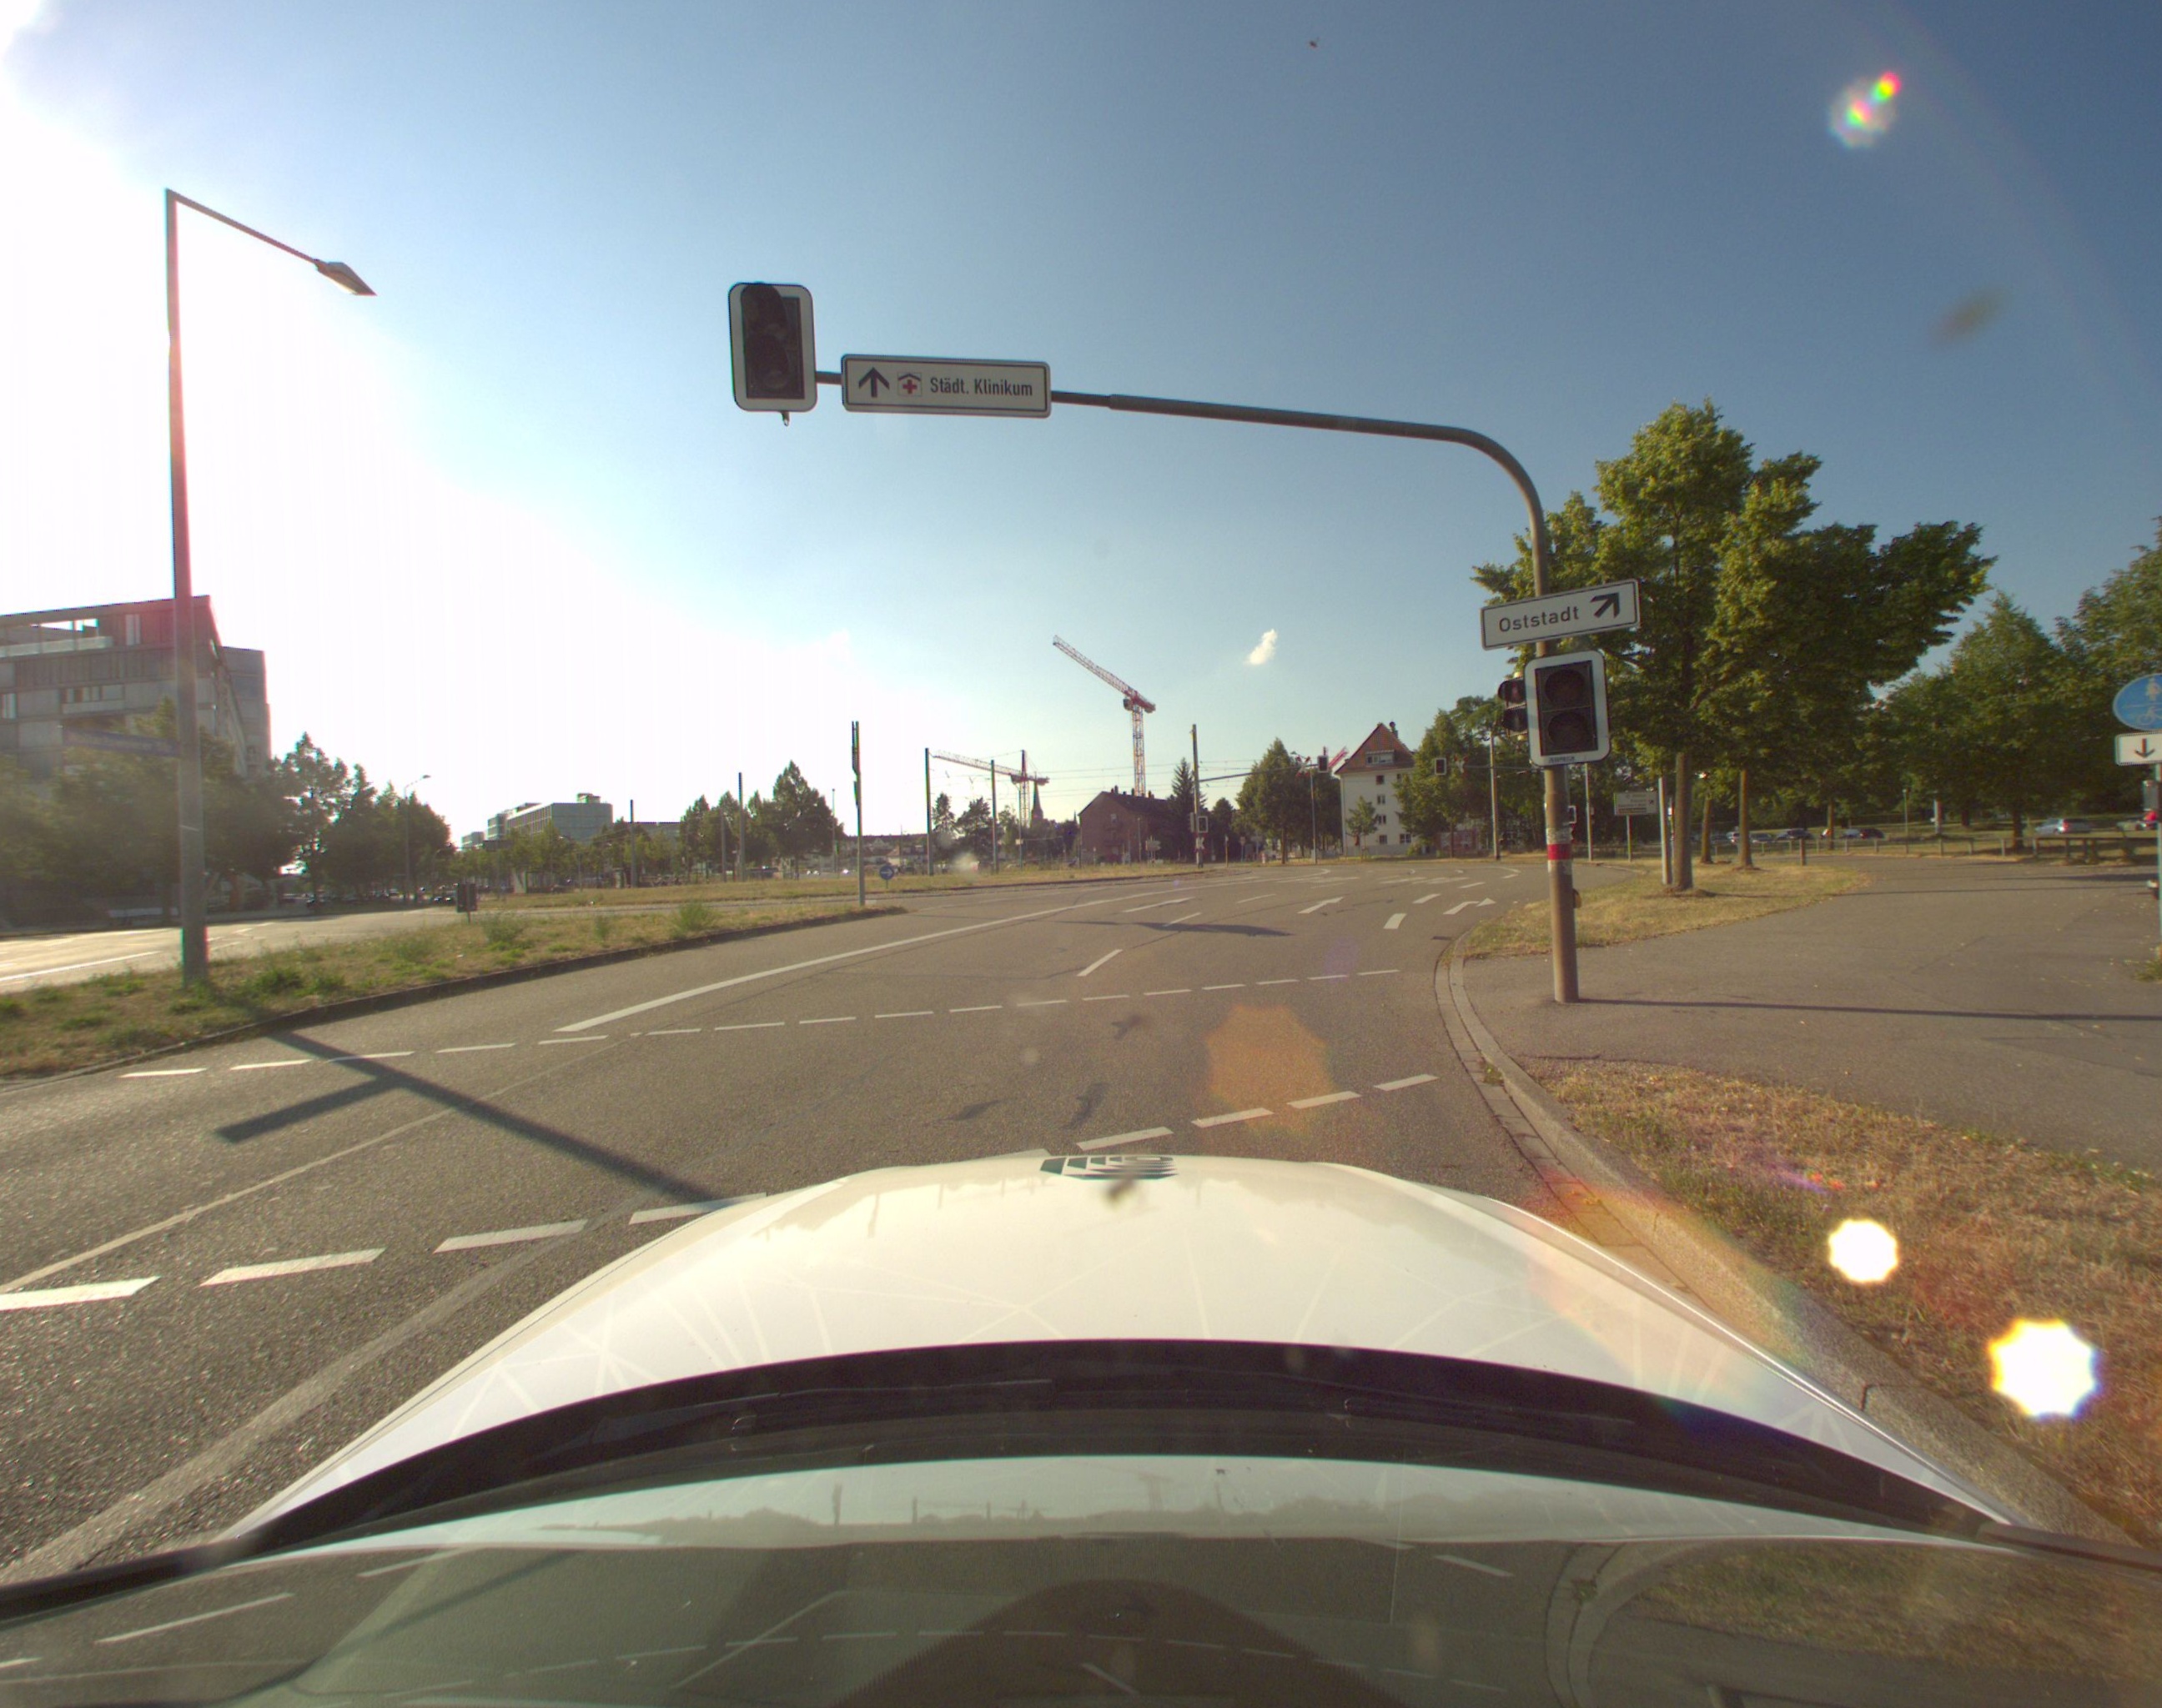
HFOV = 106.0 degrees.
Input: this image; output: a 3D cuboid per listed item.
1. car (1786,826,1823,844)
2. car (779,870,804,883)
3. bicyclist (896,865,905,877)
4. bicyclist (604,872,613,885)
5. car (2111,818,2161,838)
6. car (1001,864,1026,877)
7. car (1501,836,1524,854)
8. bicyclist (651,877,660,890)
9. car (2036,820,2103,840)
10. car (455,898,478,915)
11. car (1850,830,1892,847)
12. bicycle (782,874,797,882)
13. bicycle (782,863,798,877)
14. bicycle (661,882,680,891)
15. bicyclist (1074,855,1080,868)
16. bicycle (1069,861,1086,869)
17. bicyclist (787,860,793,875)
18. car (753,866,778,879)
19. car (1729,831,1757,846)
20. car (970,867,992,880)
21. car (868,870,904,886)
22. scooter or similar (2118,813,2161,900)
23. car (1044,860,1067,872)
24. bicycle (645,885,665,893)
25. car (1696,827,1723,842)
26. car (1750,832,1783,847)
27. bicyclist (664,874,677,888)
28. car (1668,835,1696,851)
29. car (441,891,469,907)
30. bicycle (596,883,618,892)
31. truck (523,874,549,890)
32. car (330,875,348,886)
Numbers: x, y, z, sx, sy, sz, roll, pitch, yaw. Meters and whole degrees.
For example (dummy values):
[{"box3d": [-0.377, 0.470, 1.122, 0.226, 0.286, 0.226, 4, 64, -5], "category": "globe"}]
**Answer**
[{"box3d": [63.349, -1.624, 71.358, 1.586, 1.402, 3.993, -3, -1, 30], "category": "car"}, {"box3d": [-47.004, 3.684, 132.208, 3.948, 2.013, 2.013, -3, 0, 36], "category": "car"}, {"box3d": [-21.858, 2.002, 98.533, 0.895, 1.396, 0.525, -2, 0, -4], "category": "bicyclist"}, {"box3d": [-47.097, 2.456, 81.189, 0.658, 1.325, 0.512, -2, 0, -45], "category": "bicyclist"}, {"box3d": [82.610, -2.015, 63.156, 1.804, 1.403, 4.023, -3, -1, 26], "category": "car"}, {"box3d": [-11.025, 2.643, 133.125, 3.776, 2.014, 1.680, -3, -1, 20], "category": "car"}, {"box3d": [43.033, -0.888, 81.153, 1.754, 1.618, 3.993, -3, -1, 30], "category": "car"}, {"box3d": [-43.508, 3.044, 83.307, 0.658, 1.325, 0.512, -2, 0, -45], "category": "bicyclist"}, {"box3d": [78.312, -1.863, 64.601, 1.804, 1.403, 4.023, -3, -1, 26], "category": "car"}, {"box3d": [-58.573, 4.979, 77.631, 1.493, 1.475, 3.260, -2, 0, -42], "category": "car"}, {"box3d": [67.221, -1.270, 69.353, 1.586, 1.310, 3.993, -3, -1, 30], "category": "car"}, {"box3d": [-32.993, 2.709, 92.203, 1.622, 0.860, 0.541, -2, 0, -24], "category": "bicycle"}, {"box3d": [-33.228, 1.810, 93.002, 1.547, 1.473, 0.475, -2, 0, -25], "category": "bicycle"}, {"box3d": [-43.475, 3.453, 86.244, 0.538, 0.860, 1.629, -3, 0, 41], "category": "bicycle"}, {"box3d": [-0.508, 0.862, 96.066, 0.621, 1.511, 0.418, -2, 0, -4], "category": "bicyclist"}, {"box3d": [-0.443, 1.317, 96.069, 1.983, 0.918, 0.429, -2, 0, -4], "category": "bicycle"}, {"box3d": [-33.251, 1.572, 92.996, 0.610, 1.672, 0.474, -2, -1, -26], "category": "bicyclist"}, {"box3d": [-53.326, 3.205, 137.537, 3.948, 2.013, 2.013, -3, 0, 36], "category": "car"}, {"box3d": [67.268, -1.556, 82.807, 1.586, 1.402, 3.993, -3, -1, 30], "category": "car"}, {"box3d": [-14.390, 2.798, 116.973, 1.929, 1.854, 3.966, -2, 0, -26], "category": "car"}, {"box3d": [-25.159, 3.130, 104.982, 4.013, 1.816, 1.981, -2, 0, -30], "category": "car"}, {"box3d": [15.418, 0.014, 11.639, 1.172, 1.160, 0.340, -4, -3, -23], "category": "scooter or similar"}, {"box3d": [-4.664, 2.274, 149.765, 3.776, 2.014, 1.680, -3, -1, 20], "category": "car"}, {"box3d": [-43.527, 3.602, 83.251, 0.474, 0.744, 1.732, -3, 0, 45], "category": "bicycle"}, {"box3d": [64.607, -2.011, 83.776, 1.586, 1.402, 3.993, -3, -1, 30], "category": "car"}, {"box3d": [61.331, -1.276, 72.927, 1.586, 1.221, 3.993, -3, -1, 30], "category": "car"}, {"box3d": [-43.504, 2.864, 86.299, 0.684, 1.357, 0.963, -3, 0, 42], "category": "bicyclist"}, {"box3d": [55.892, -1.000, 75.801, 1.586, 1.402, 3.993, -3, -1, 30], "category": "car"}, {"box3d": [-63.648, 4.558, 82.784, 2.011, 1.475, 3.952, -2, 0, -42], "category": "car"}, {"box3d": [-47.186, 3.308, 81.080, 0.474, 0.744, 1.732, -3, 0, 45], "category": "bicycle"}, {"box3d": [-115.769, 5.959, 172.970, 3.156, 3.231, 7.085, -2, 0, -44], "category": "truck"}, {"box3d": [-110.627, 3.917, 121.465, 1.800, 1.556, 3.950, 0, -1, -45], "category": "car"}]
